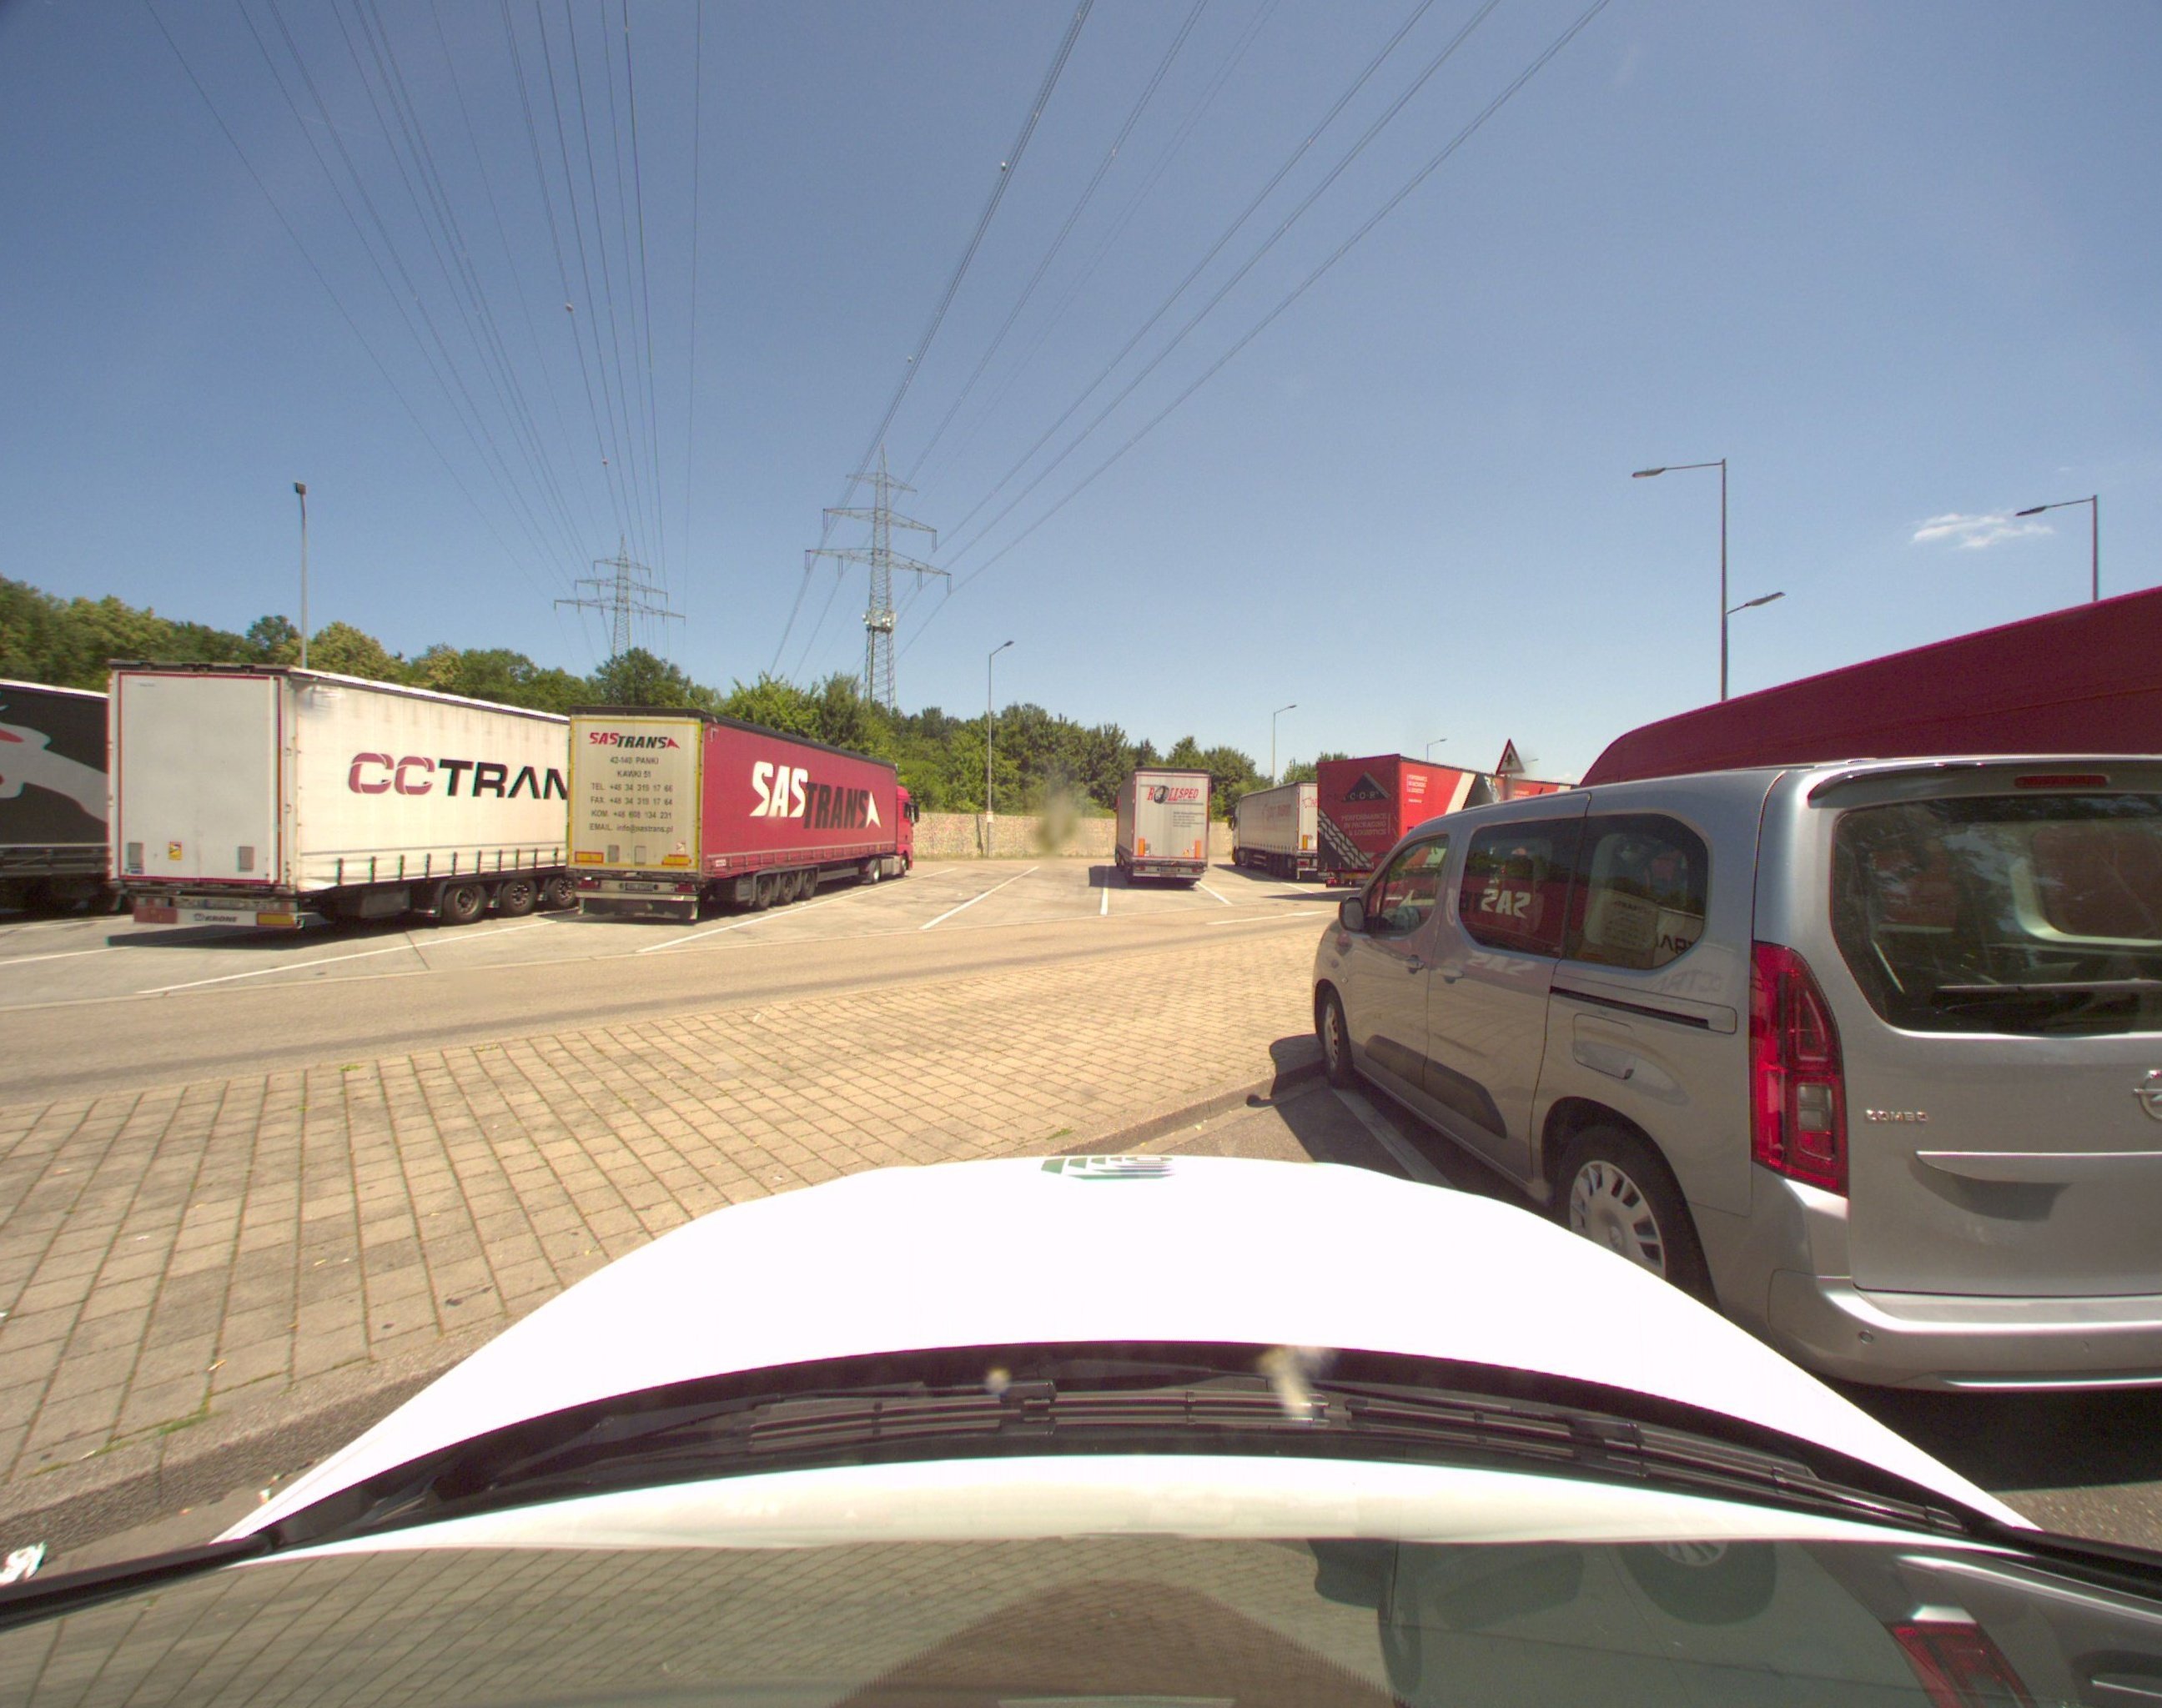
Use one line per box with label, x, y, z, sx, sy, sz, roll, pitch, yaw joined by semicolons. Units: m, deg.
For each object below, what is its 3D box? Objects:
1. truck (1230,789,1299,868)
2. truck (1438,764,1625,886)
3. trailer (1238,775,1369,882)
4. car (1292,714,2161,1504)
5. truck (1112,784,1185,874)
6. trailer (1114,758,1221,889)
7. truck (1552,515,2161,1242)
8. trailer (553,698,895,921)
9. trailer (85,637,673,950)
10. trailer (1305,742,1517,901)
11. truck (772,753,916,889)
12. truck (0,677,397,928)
truck;10.127;-1.357;45.405;2.747;4.124;5.286;-1;1;2
truck;18.010;-1.077;32.058;10.658;4.127;2.663;-1;1;-39
trailer;9.940;-1.098;38.402;2.865;4.124;13.577;0;1;2
car;2.473;0.530;3.842;1.821;1.753;3.998;-1;1;-2
truck;3.127;-1.217;39.502;3.016;3.928;6.848;1;2;1
trailer;3.046;-1.184;32.730;3.059;4.227;12.811;1;2;1
truck;5.103;0.052;4.864;1.983;2.623;5.312;0;1;6
trailer;-8.044;-0.918;21.522;2.739;4.057;13.292;-1;1;2
trailer;-12.097;-0.896;16.062;2.734;4.263;9.740;0;1;3
trailer;10.718;-0.952;25.804;8.734;4.257;2.808;-1;1;-43
truck;-7.838;-1.050;28.005;2.733;4.081;6.832;-1;1;1
truck;-18.509;-0.858;15.955;2.627;4.018;8.640;-1;1;2
